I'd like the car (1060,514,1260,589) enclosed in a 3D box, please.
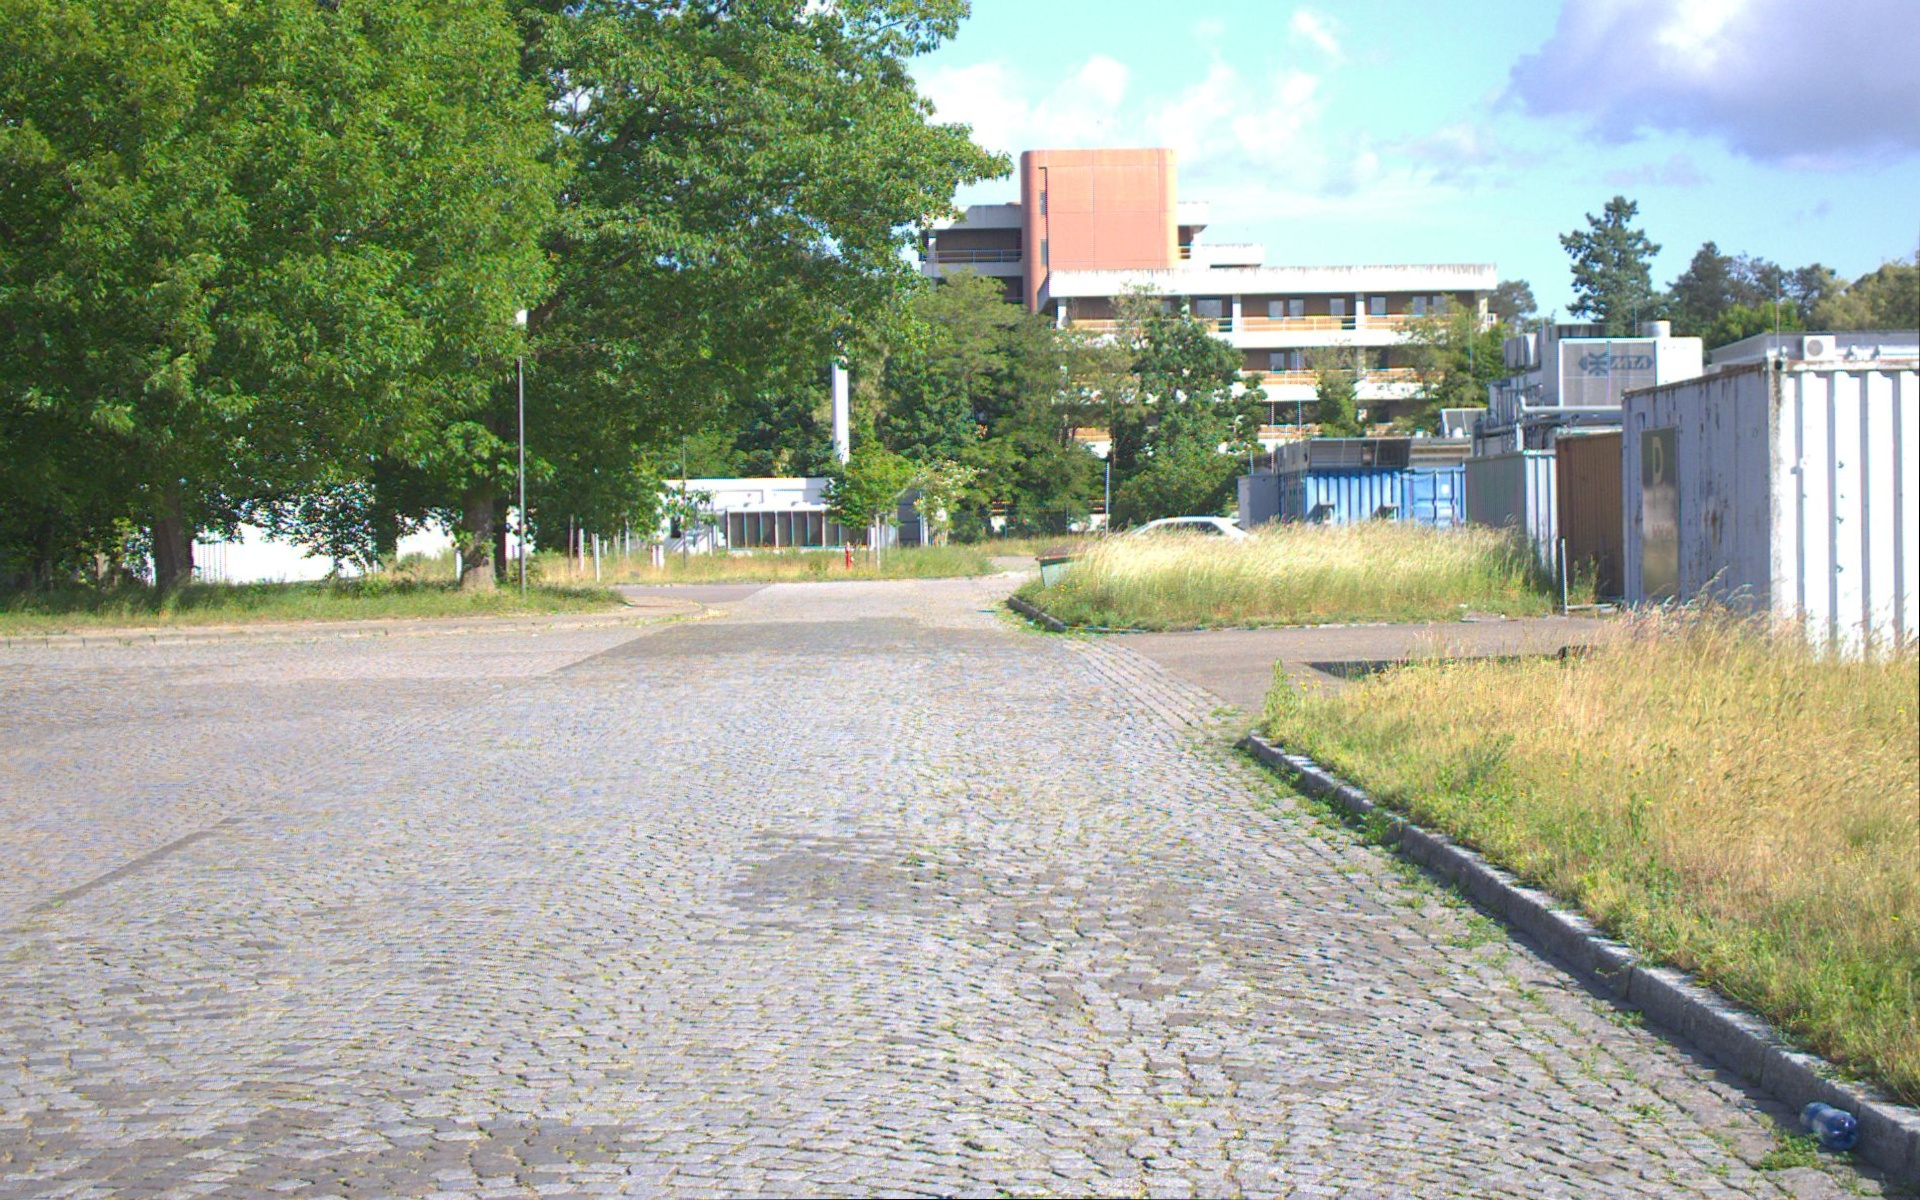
[{"bbox_3d":[4.682,-1.146,80.892,4.504,1.642,2.000,-1,1,-2],"label":"car"}]
